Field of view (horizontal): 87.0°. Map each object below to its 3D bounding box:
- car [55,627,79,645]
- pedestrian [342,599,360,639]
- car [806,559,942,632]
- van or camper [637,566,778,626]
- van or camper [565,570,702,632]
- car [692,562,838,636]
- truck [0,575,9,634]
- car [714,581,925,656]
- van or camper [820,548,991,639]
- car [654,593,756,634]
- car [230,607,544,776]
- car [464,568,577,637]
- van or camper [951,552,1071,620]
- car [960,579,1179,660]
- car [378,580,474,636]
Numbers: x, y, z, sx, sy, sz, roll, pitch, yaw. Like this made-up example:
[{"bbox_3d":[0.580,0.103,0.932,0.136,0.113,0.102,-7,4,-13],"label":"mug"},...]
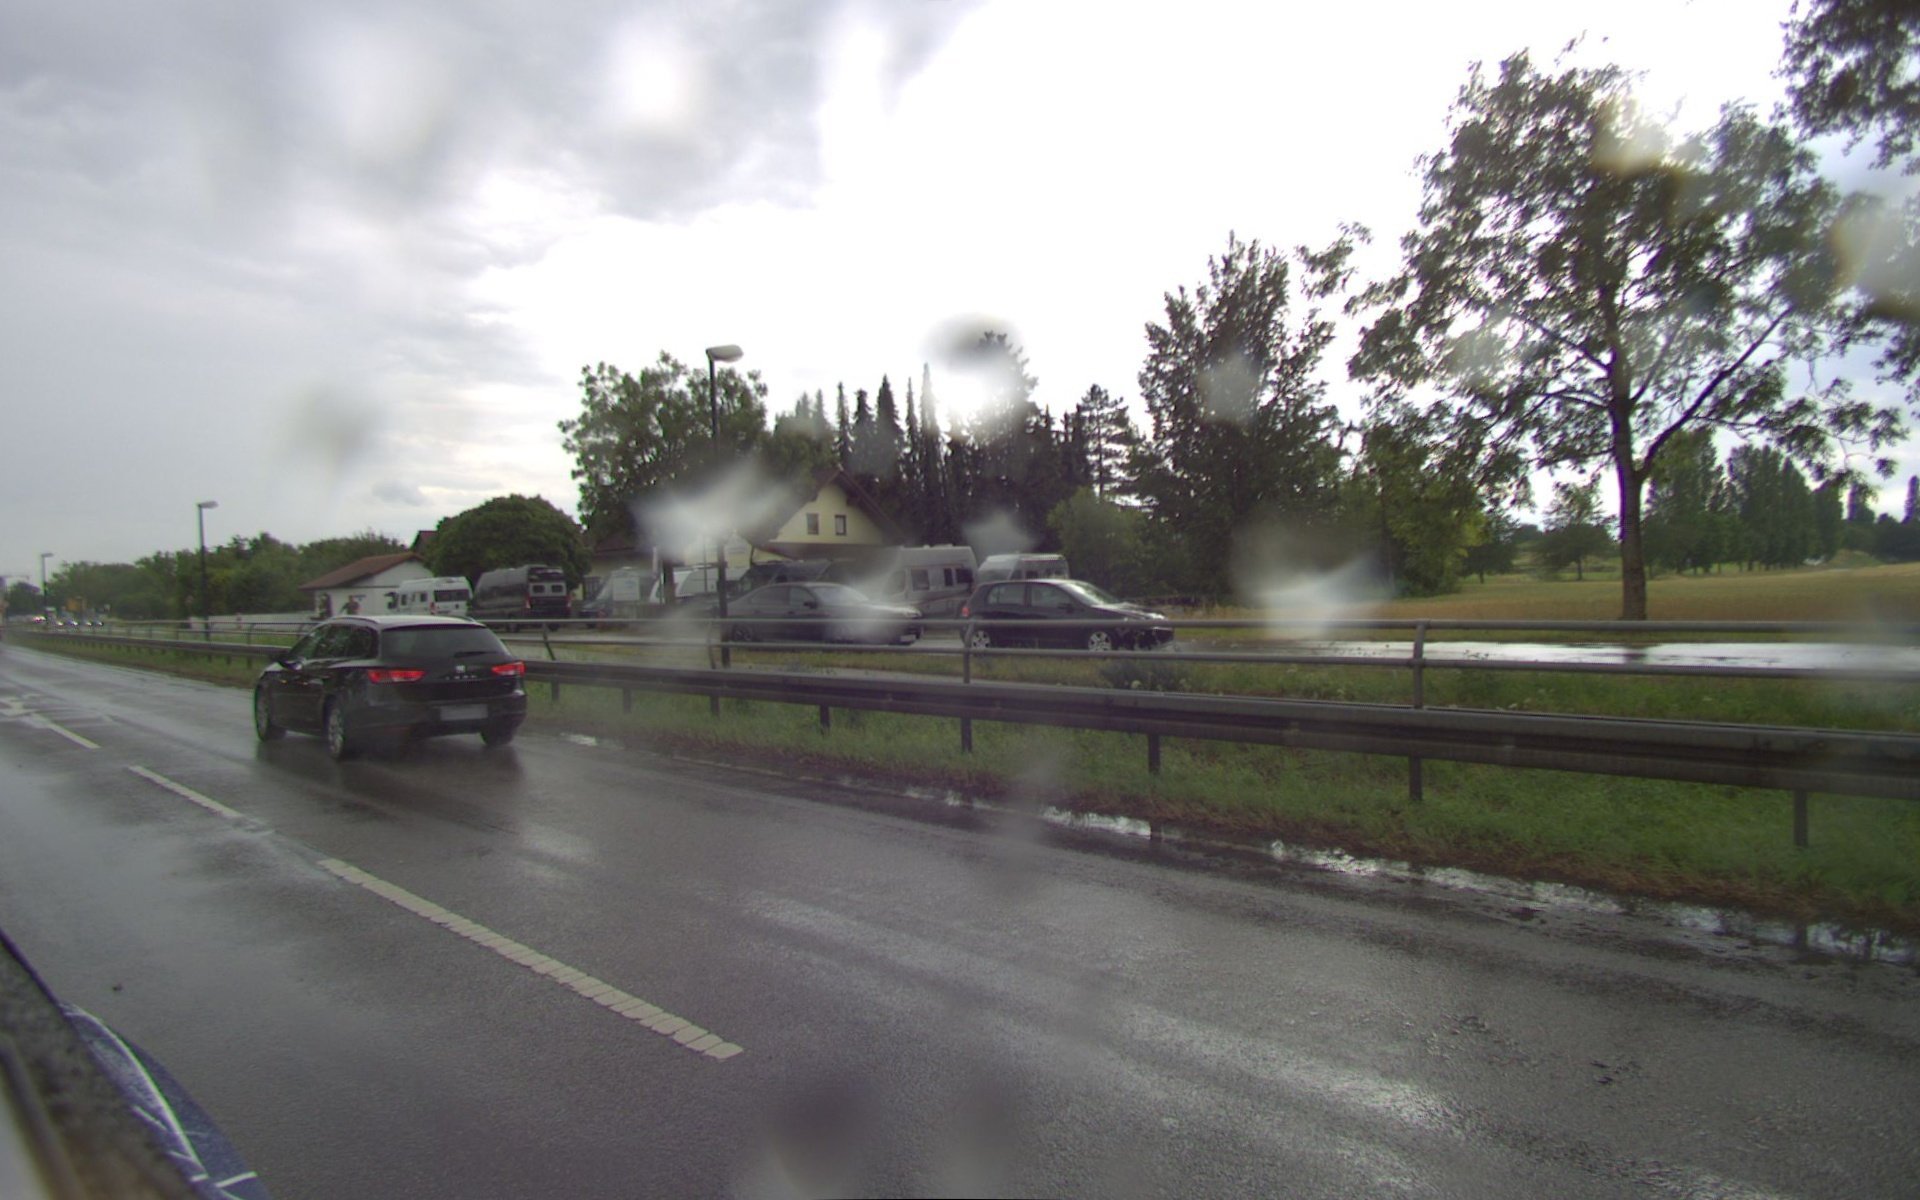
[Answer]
[{"bbox_3d":[-109.059,4.349,123.568,3.998,2.029,1.662,-1,0,41],"label":"car"},{"bbox_3d":[-26.453,0.823,43.939,0.509,1.723,0.651,-2,1,-40],"label":"pedestrian"},{"bbox_3d":[-3.060,-0.213,37.114,1.998,2.477,5.043,-2,1,39],"label":"car"},{"bbox_3d":[-11.954,-0.256,48.383,2.560,2.611,6.161,-2,1,40],"label":"van or camper"},{"bbox_3d":[-16.011,0.006,49.898,2.432,2.822,5.993,-2,1,40],"label":"van or camper"},{"bbox_3d":[-7.054,-0.084,37.191,1.998,2.520,5.133,-2,1,39],"label":"car"},{"bbox_3d":[-86.289,0.490,88.777,7.779,5.071,3.215,-2,1,41],"label":"truck"},{"bbox_3d":[-3.219,0.418,22.462,5.114,1.502,1.501,-2,-1,38],"label":"car"},{"bbox_3d":[-1.637,-0.281,32.845,2.080,2.697,5.816,-2,1,40],"label":"van or camper"},{"bbox_3d":[-10.433,0.532,41.647,1.539,1.507,3.844,-2,1,41],"label":"car"},{"bbox_3d":[-6.292,0.850,10.909,4.109,1.462,1.696,-2,-1,41],"label":"car"},{"bbox_3d":[-19.402,0.132,44.558,5.571,2.783,2.358,-2,1,42],"label":"car"},{"bbox_3d":[2.216,-0.641,42.138,1.997,2.609,5.749,-2,1,38],"label":"van or camper"},{"bbox_3d":[1.941,0.371,18.568,3.892,1.341,1.271,-2,-1,37],"label":"car"},{"bbox_3d":[-26.673,0.412,50.426,6.017,2.600,2.214,-2,1,42],"label":"car"}]
